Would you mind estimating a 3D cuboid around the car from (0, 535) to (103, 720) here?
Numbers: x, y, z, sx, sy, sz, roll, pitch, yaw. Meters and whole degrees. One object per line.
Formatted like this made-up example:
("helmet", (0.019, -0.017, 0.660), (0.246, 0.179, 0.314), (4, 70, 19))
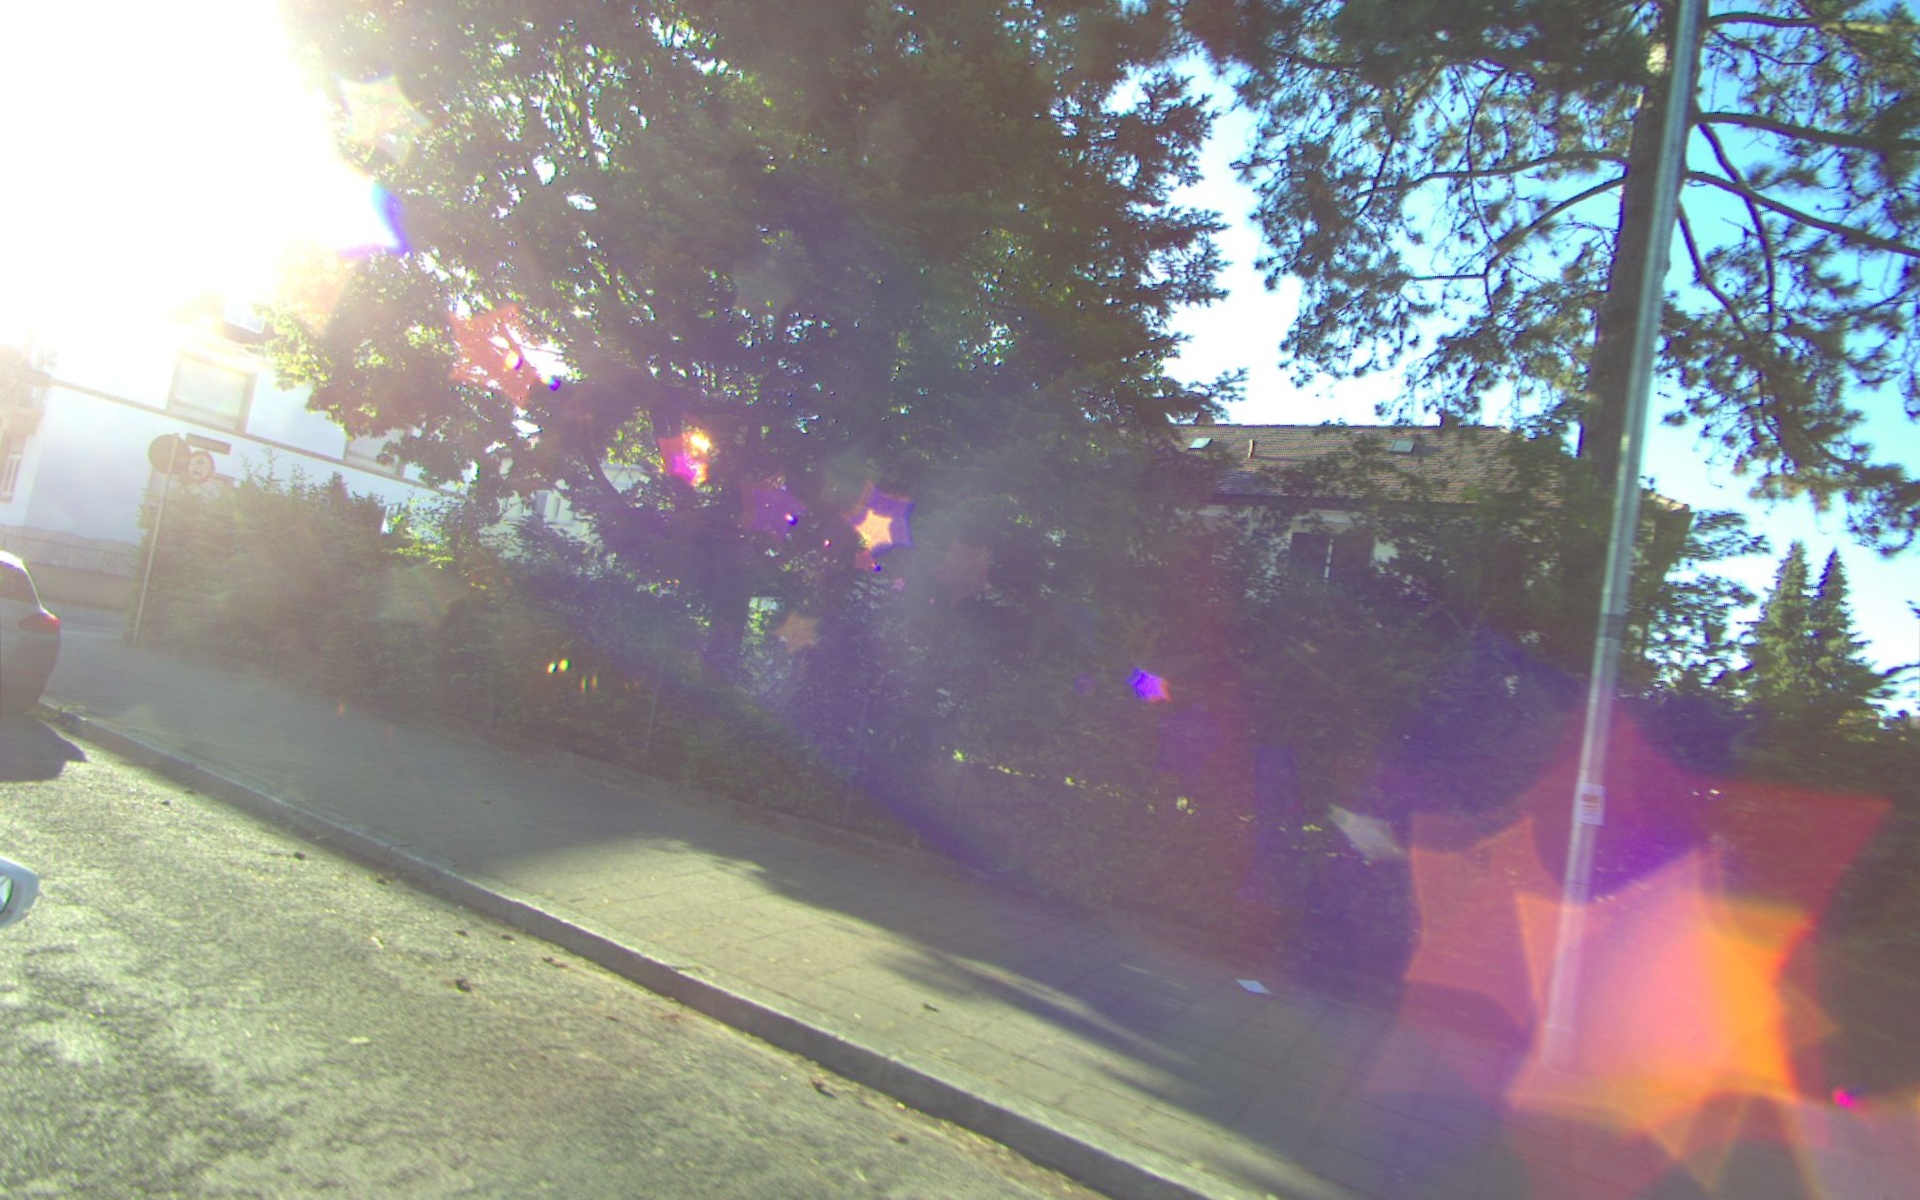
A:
("car", (-9.882, -0.073, 9.181), (4.005, 1.428, 1.770), (6, -13, 33))
